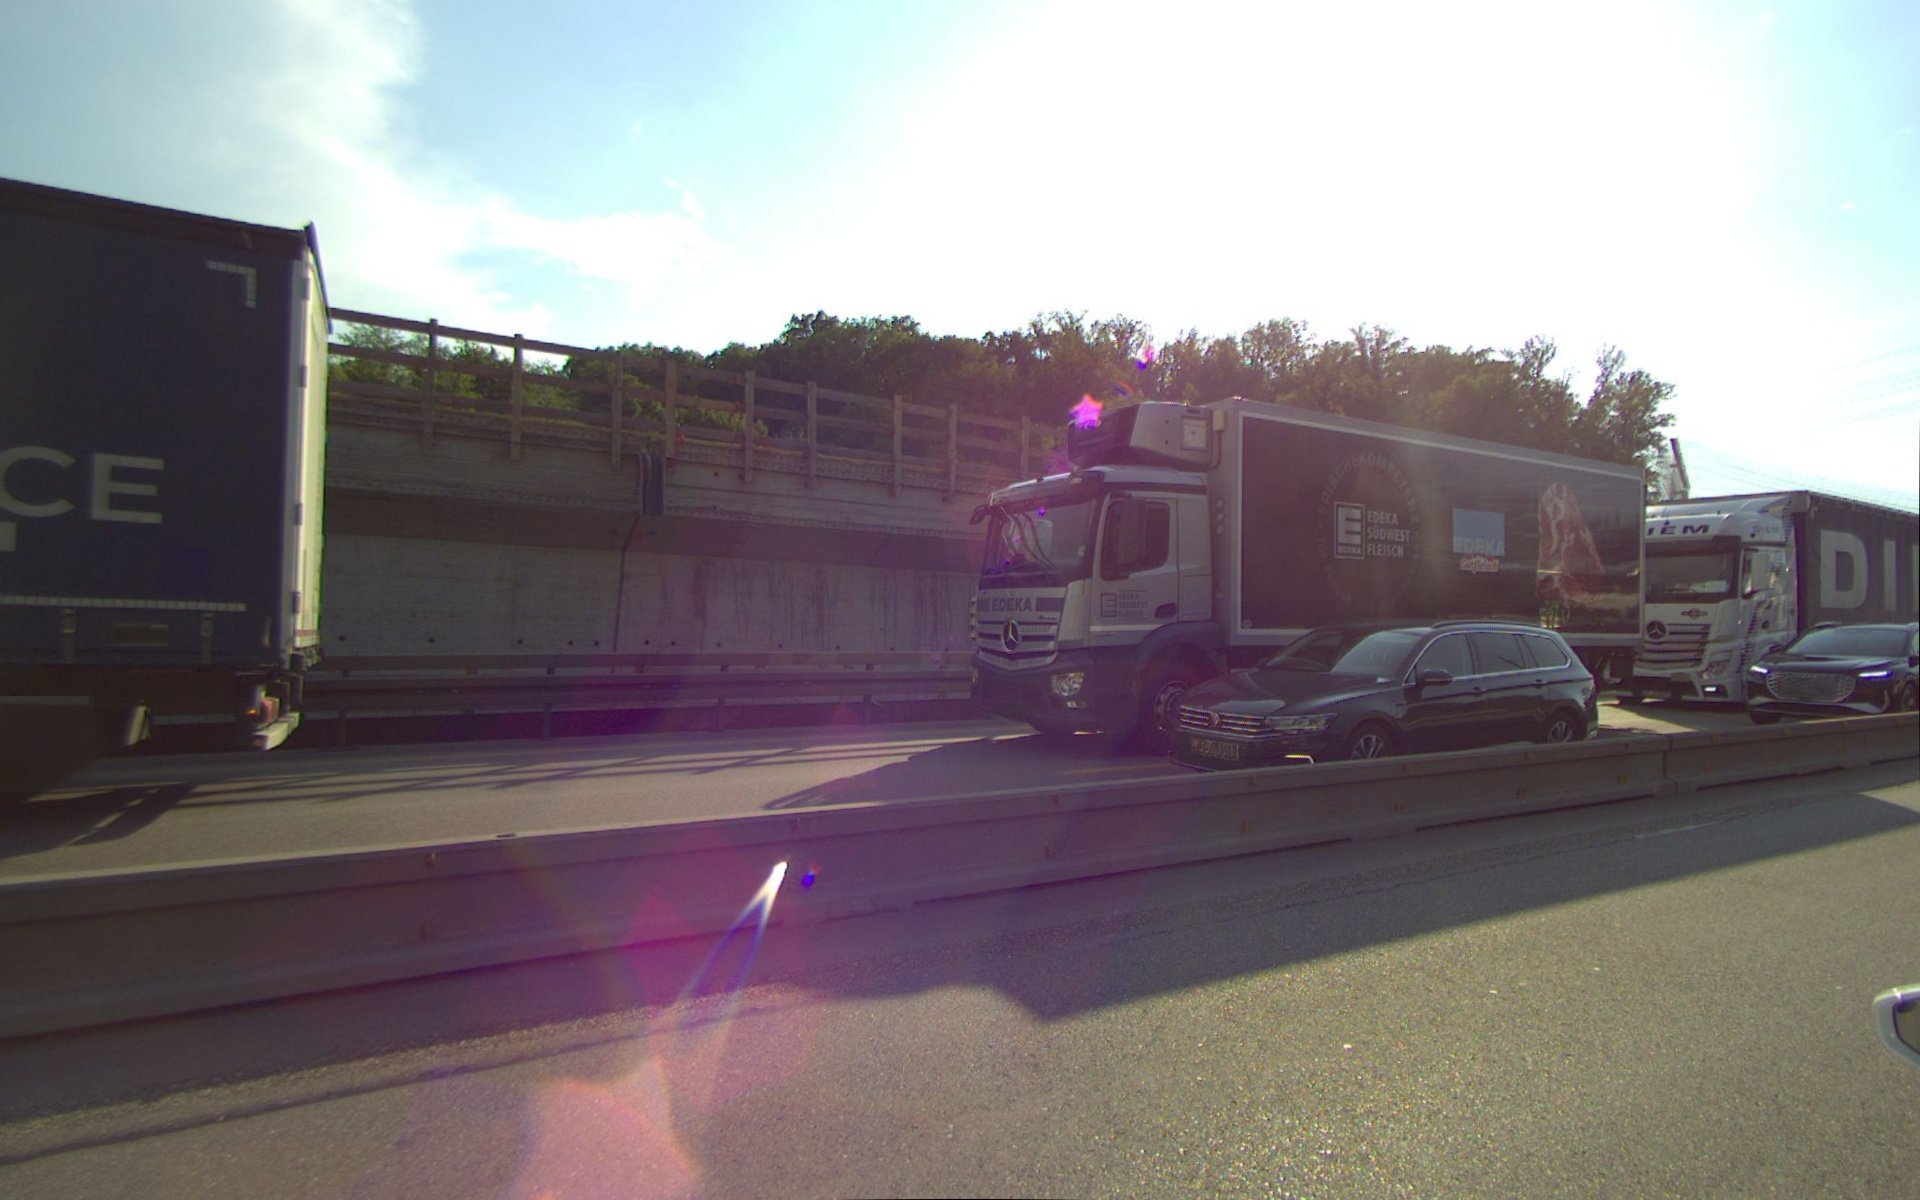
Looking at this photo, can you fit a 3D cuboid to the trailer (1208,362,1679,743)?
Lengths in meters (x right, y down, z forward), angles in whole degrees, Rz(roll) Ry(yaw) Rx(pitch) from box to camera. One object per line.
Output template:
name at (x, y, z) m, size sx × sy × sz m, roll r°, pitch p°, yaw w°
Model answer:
trailer at (7.367, -0.452, 15.000) m, size 7.071 × 4.524 × 2.896 m, roll 2°, pitch -1°, yaw -31°

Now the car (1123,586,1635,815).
car at (3.959, 0.834, 9.273) m, size 4.691 × 1.607 × 1.853 m, roll 3°, pitch 1°, yaw -30°

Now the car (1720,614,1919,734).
car at (14.267, 1.124, 15.852) m, size 5.309 × 1.626 × 1.867 m, roll 2°, pitch -3°, yaw -32°

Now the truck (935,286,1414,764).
truck at (2.613, -0.637, 12.143) m, size 4.970 × 4.574 × 2.905 m, roll 2°, pitch -1°, yaw -31°

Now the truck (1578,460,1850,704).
truck at (14.823, -0.205, 19.708) m, size 4.977 × 4.169 × 2.733 m, roll 2°, pitch -2°, yaw -33°

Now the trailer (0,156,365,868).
trailer at (-10.823, -0.704, 4.659) m, size 13.670 × 4.258 × 2.763 m, roll 2°, pitch -2°, yaw -30°

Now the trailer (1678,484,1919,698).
trailer at (21.582, 0.038, 24.123) m, size 12.357 × 4.176 × 2.700 m, roll 2°, pitch -2°, yaw -33°
